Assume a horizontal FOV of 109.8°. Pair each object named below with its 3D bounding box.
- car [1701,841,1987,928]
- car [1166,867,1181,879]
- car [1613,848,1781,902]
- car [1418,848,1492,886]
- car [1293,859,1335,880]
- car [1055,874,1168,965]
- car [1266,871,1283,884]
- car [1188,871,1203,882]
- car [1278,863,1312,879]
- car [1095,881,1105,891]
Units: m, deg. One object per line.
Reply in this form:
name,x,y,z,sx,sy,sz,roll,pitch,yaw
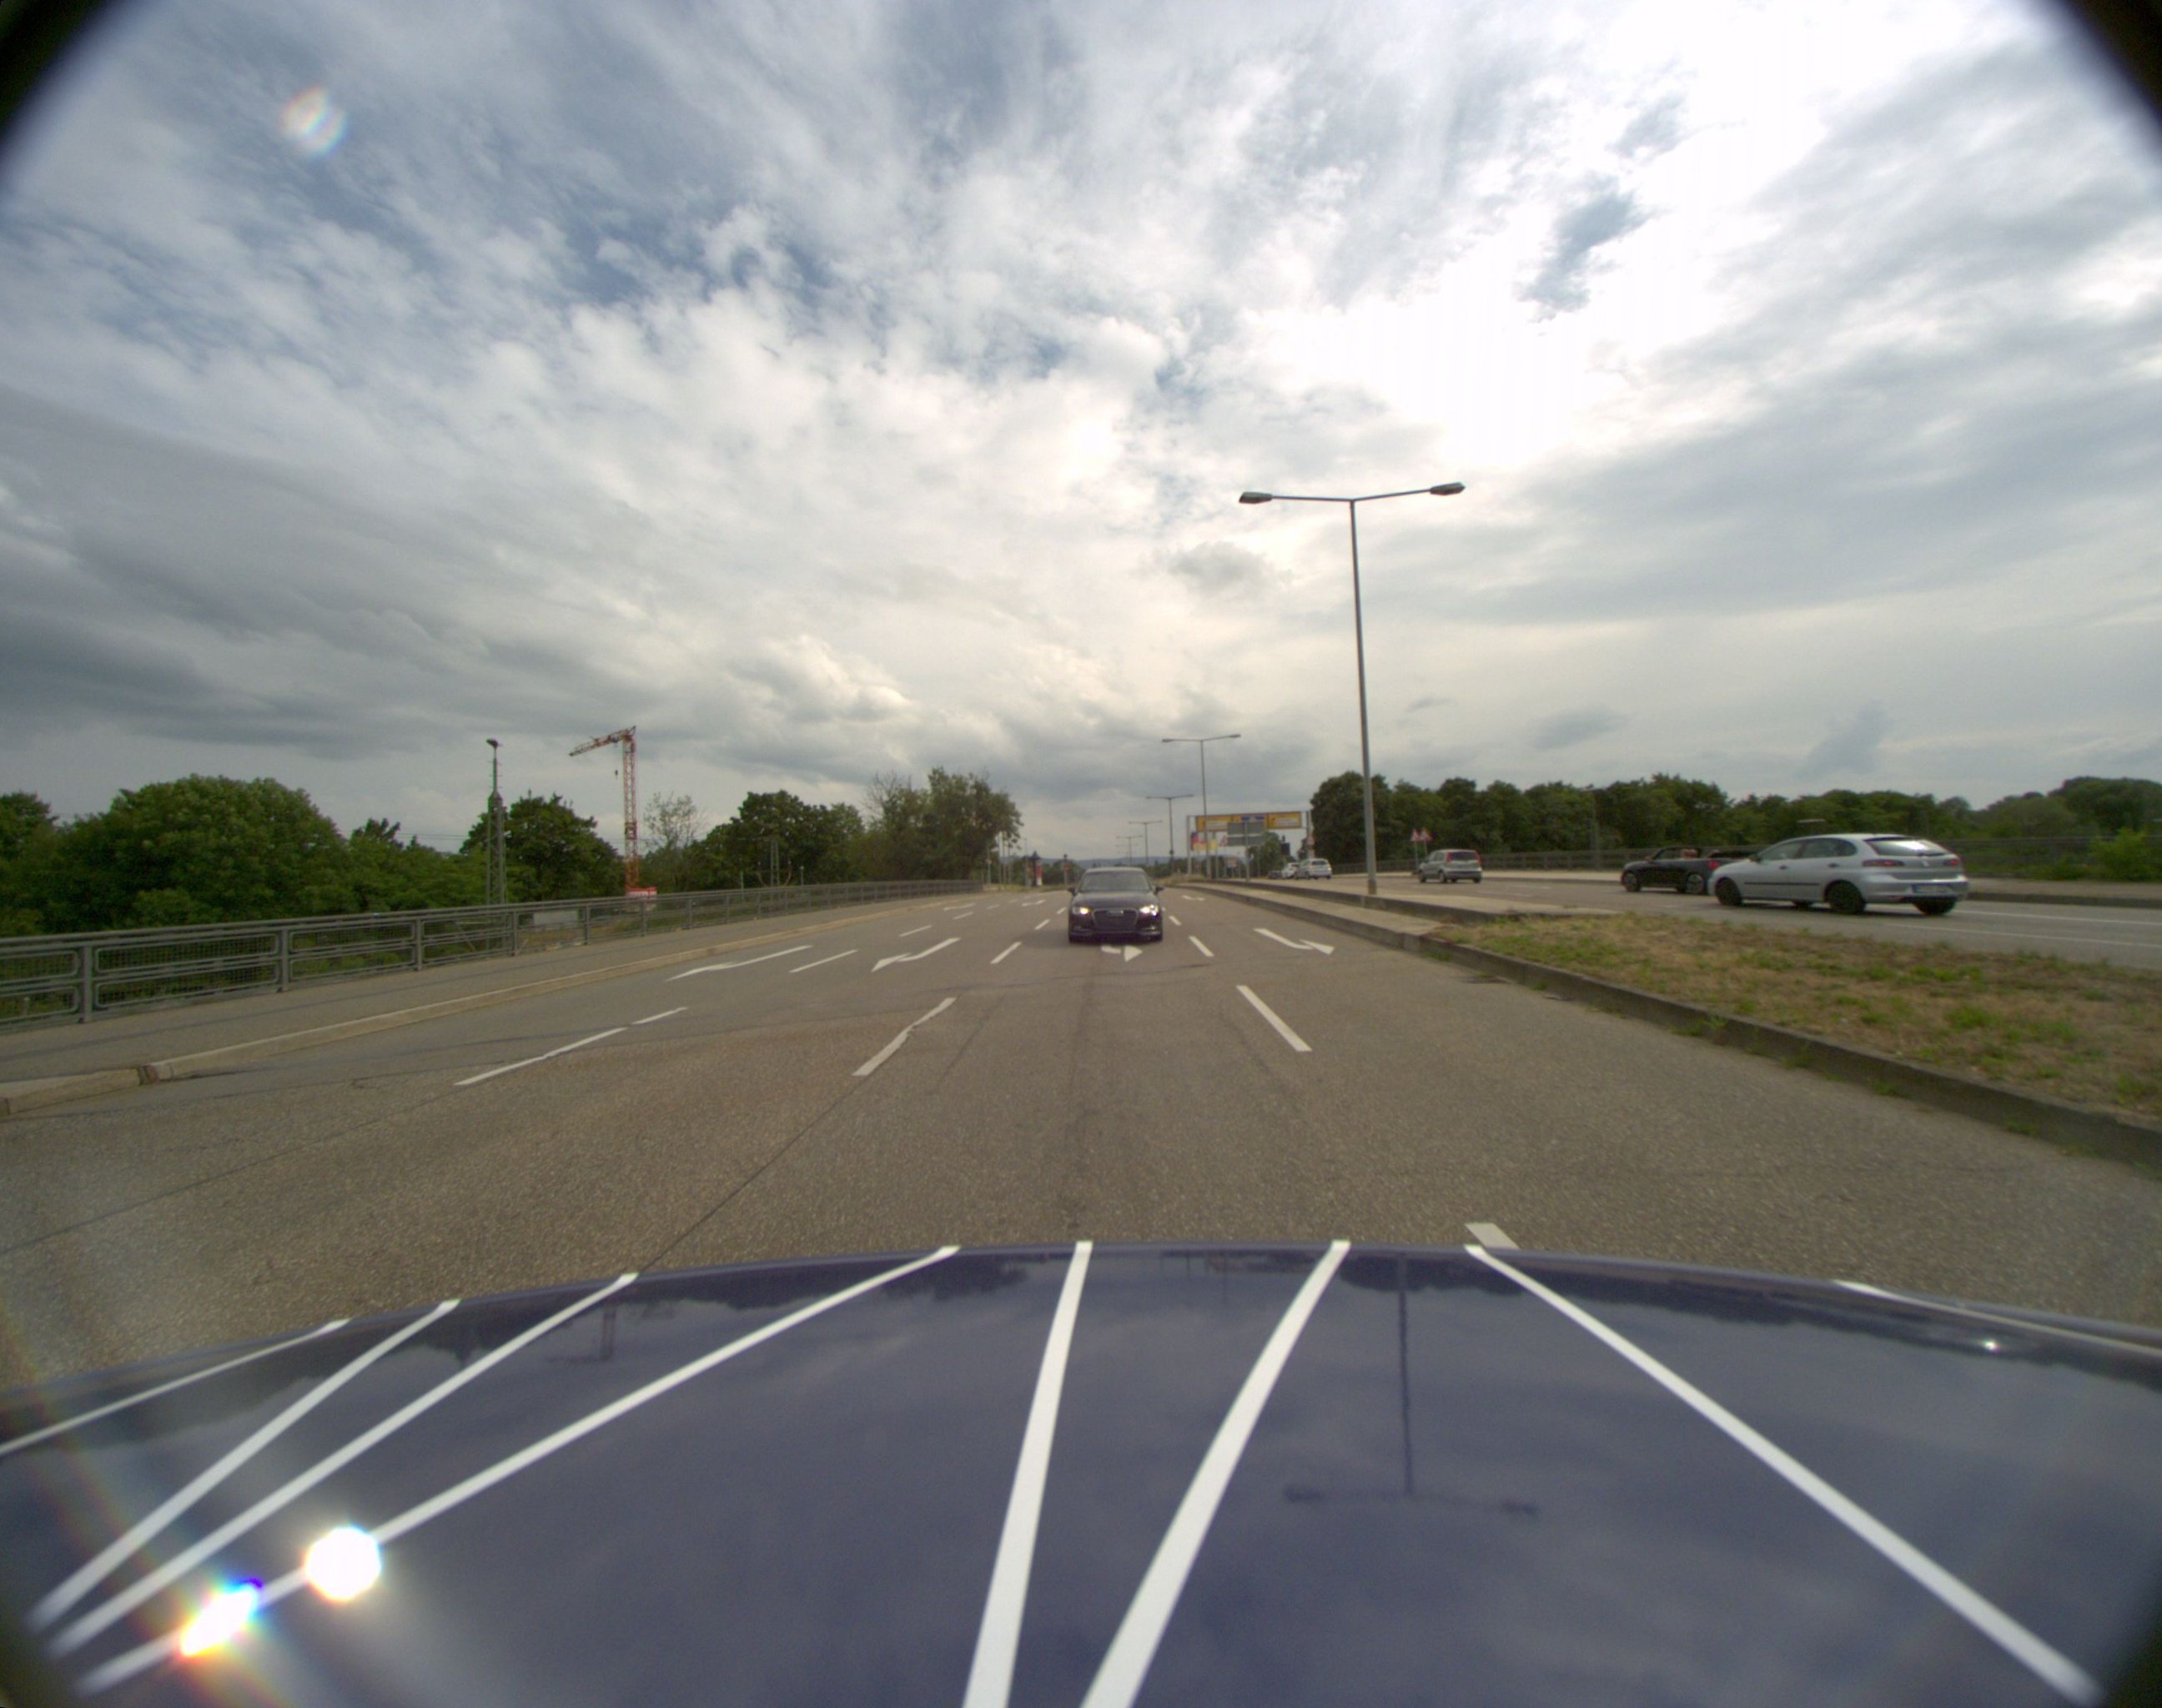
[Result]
car,14.055,0.505,14.366,1.620,1.402,3.861,-1,0,2
car,13.544,2.799,111.534,1.891,1.630,4.587,-2,-1,3
car,17.572,0.546,21.931,1.746,1.402,3.877,-1,0,1
car,17.113,0.578,34.974,1.745,1.649,4.081,-1,0,7
car,16.937,1.114,55.482,1.813,1.407,4.030,-1,0,0
car,0.596,1.157,15.030,1.852,1.355,4.730,-2,0,2
car,27.734,3.330,108.909,1.889,1.630,4.553,-2,-1,19
car,18.565,3.684,123.828,1.891,1.630,4.219,-2,-1,2
car,19.352,1.533,68.996,1.923,1.407,4.883,-1,-1,3
car,3.356,5.607,133.460,1.745,1.467,3.813,-2,-1,1
